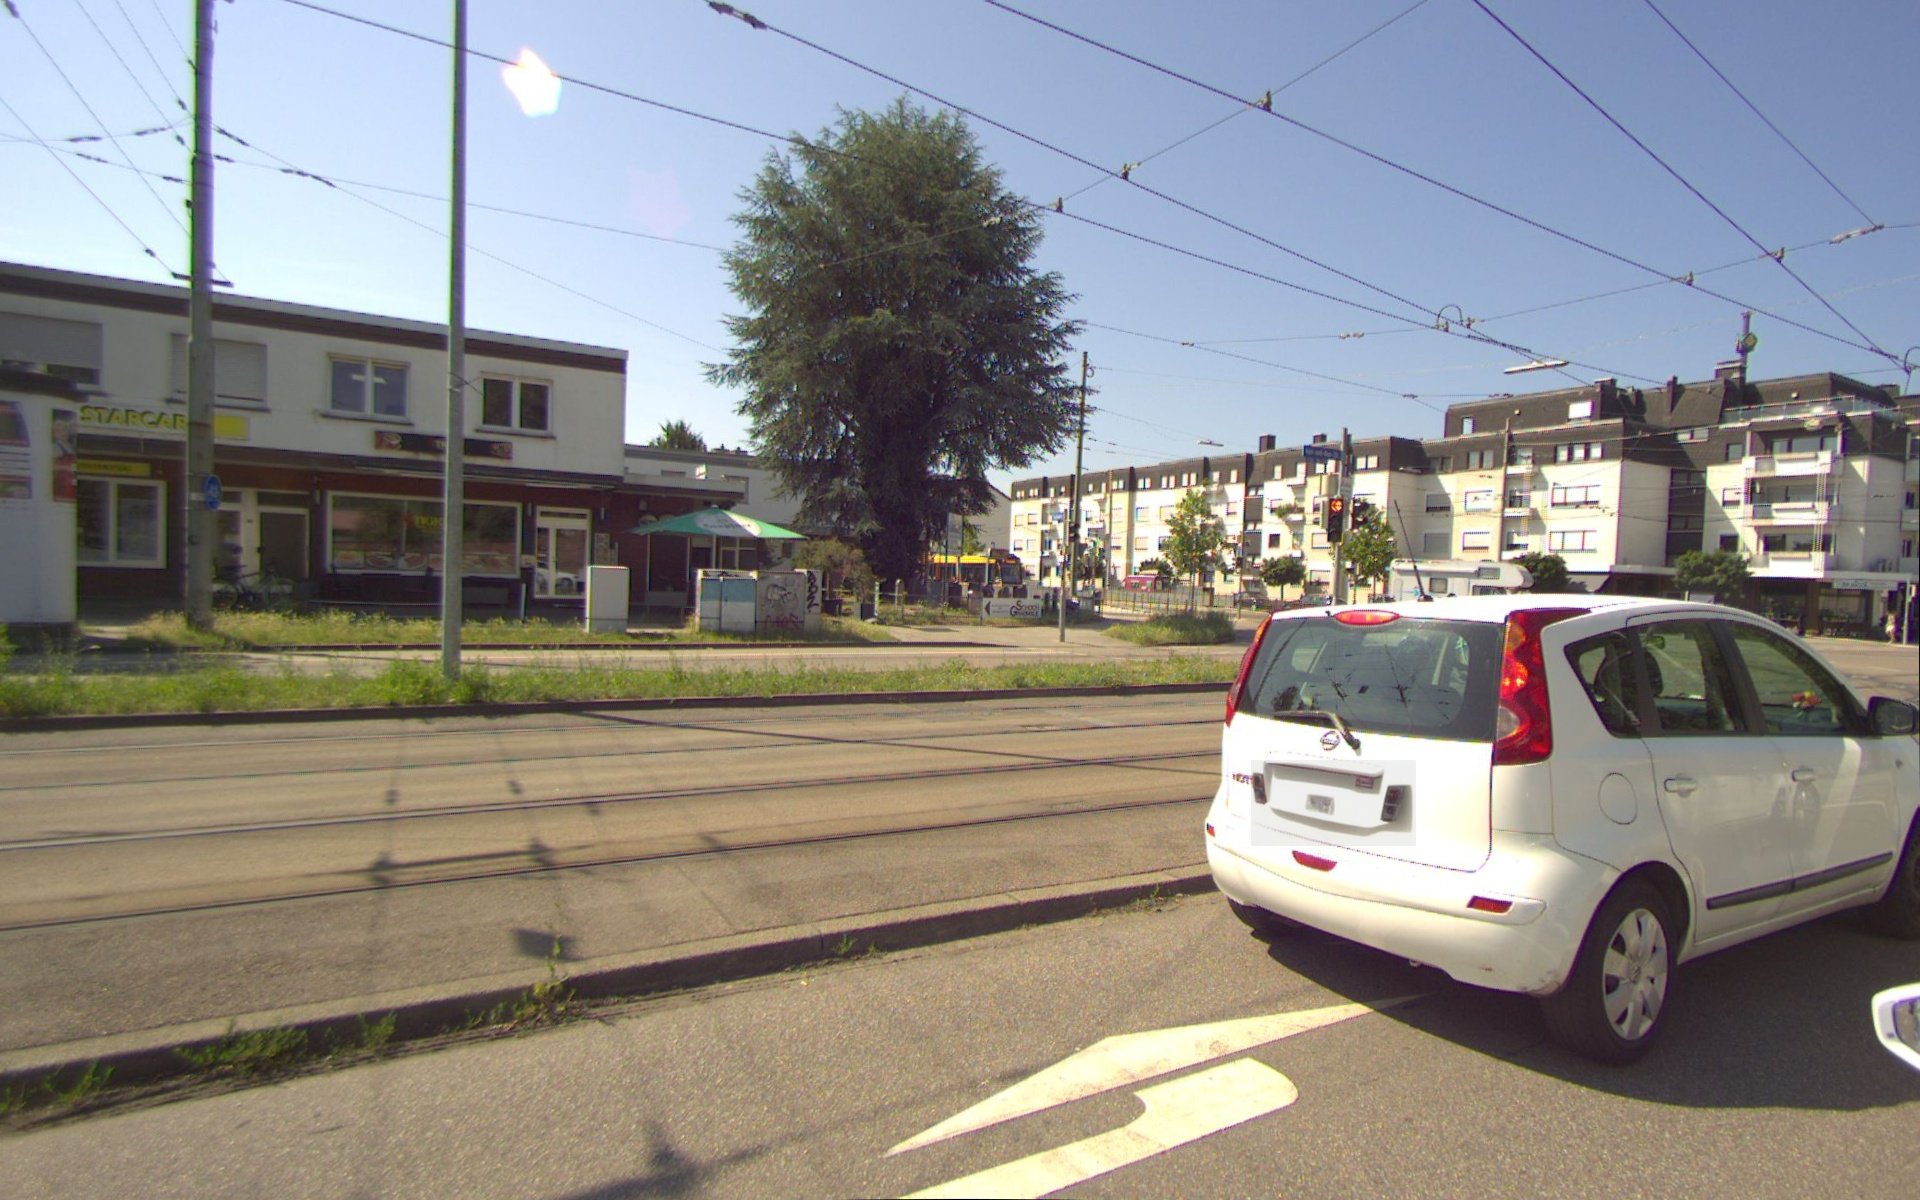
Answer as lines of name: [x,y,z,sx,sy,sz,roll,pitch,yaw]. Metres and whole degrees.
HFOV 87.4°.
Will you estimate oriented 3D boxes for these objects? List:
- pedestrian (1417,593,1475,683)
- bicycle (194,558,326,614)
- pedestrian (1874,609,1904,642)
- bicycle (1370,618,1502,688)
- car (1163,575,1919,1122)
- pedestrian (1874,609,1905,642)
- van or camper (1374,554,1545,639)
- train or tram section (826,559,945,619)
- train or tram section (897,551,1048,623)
pedestrian: [8.916,0.692,18.419,0.671,1.592,0.738,3,-1,-45]
bicycle: [-15.473,-0.289,22.295,2.306,1.167,0.783,2,-1,-30]
pedestrian: [50.995,1.420,55.138,0.956,1.766,0.864,2,-1,26]
bicycle: [8.503,0.921,18.016,0.705,1.105,1.999,1,1,-44]
car: [2.898,0.728,4.579,3.759,1.587,1.634,0,0,-31]
pedestrian: [51.756,1.413,55.923,0.955,1.766,0.865,2,-1,16]
van or camper: [19.753,-0.128,39.863,5.614,3.133,2.564,1,-1,39]
train or tram section: [-7.535,-0.979,96.934,4.681,5.217,16.121,2,-1,-30]
train or tram section: [0.620,-0.945,83.024,4.681,5.217,16.121,2,-1,-30]
